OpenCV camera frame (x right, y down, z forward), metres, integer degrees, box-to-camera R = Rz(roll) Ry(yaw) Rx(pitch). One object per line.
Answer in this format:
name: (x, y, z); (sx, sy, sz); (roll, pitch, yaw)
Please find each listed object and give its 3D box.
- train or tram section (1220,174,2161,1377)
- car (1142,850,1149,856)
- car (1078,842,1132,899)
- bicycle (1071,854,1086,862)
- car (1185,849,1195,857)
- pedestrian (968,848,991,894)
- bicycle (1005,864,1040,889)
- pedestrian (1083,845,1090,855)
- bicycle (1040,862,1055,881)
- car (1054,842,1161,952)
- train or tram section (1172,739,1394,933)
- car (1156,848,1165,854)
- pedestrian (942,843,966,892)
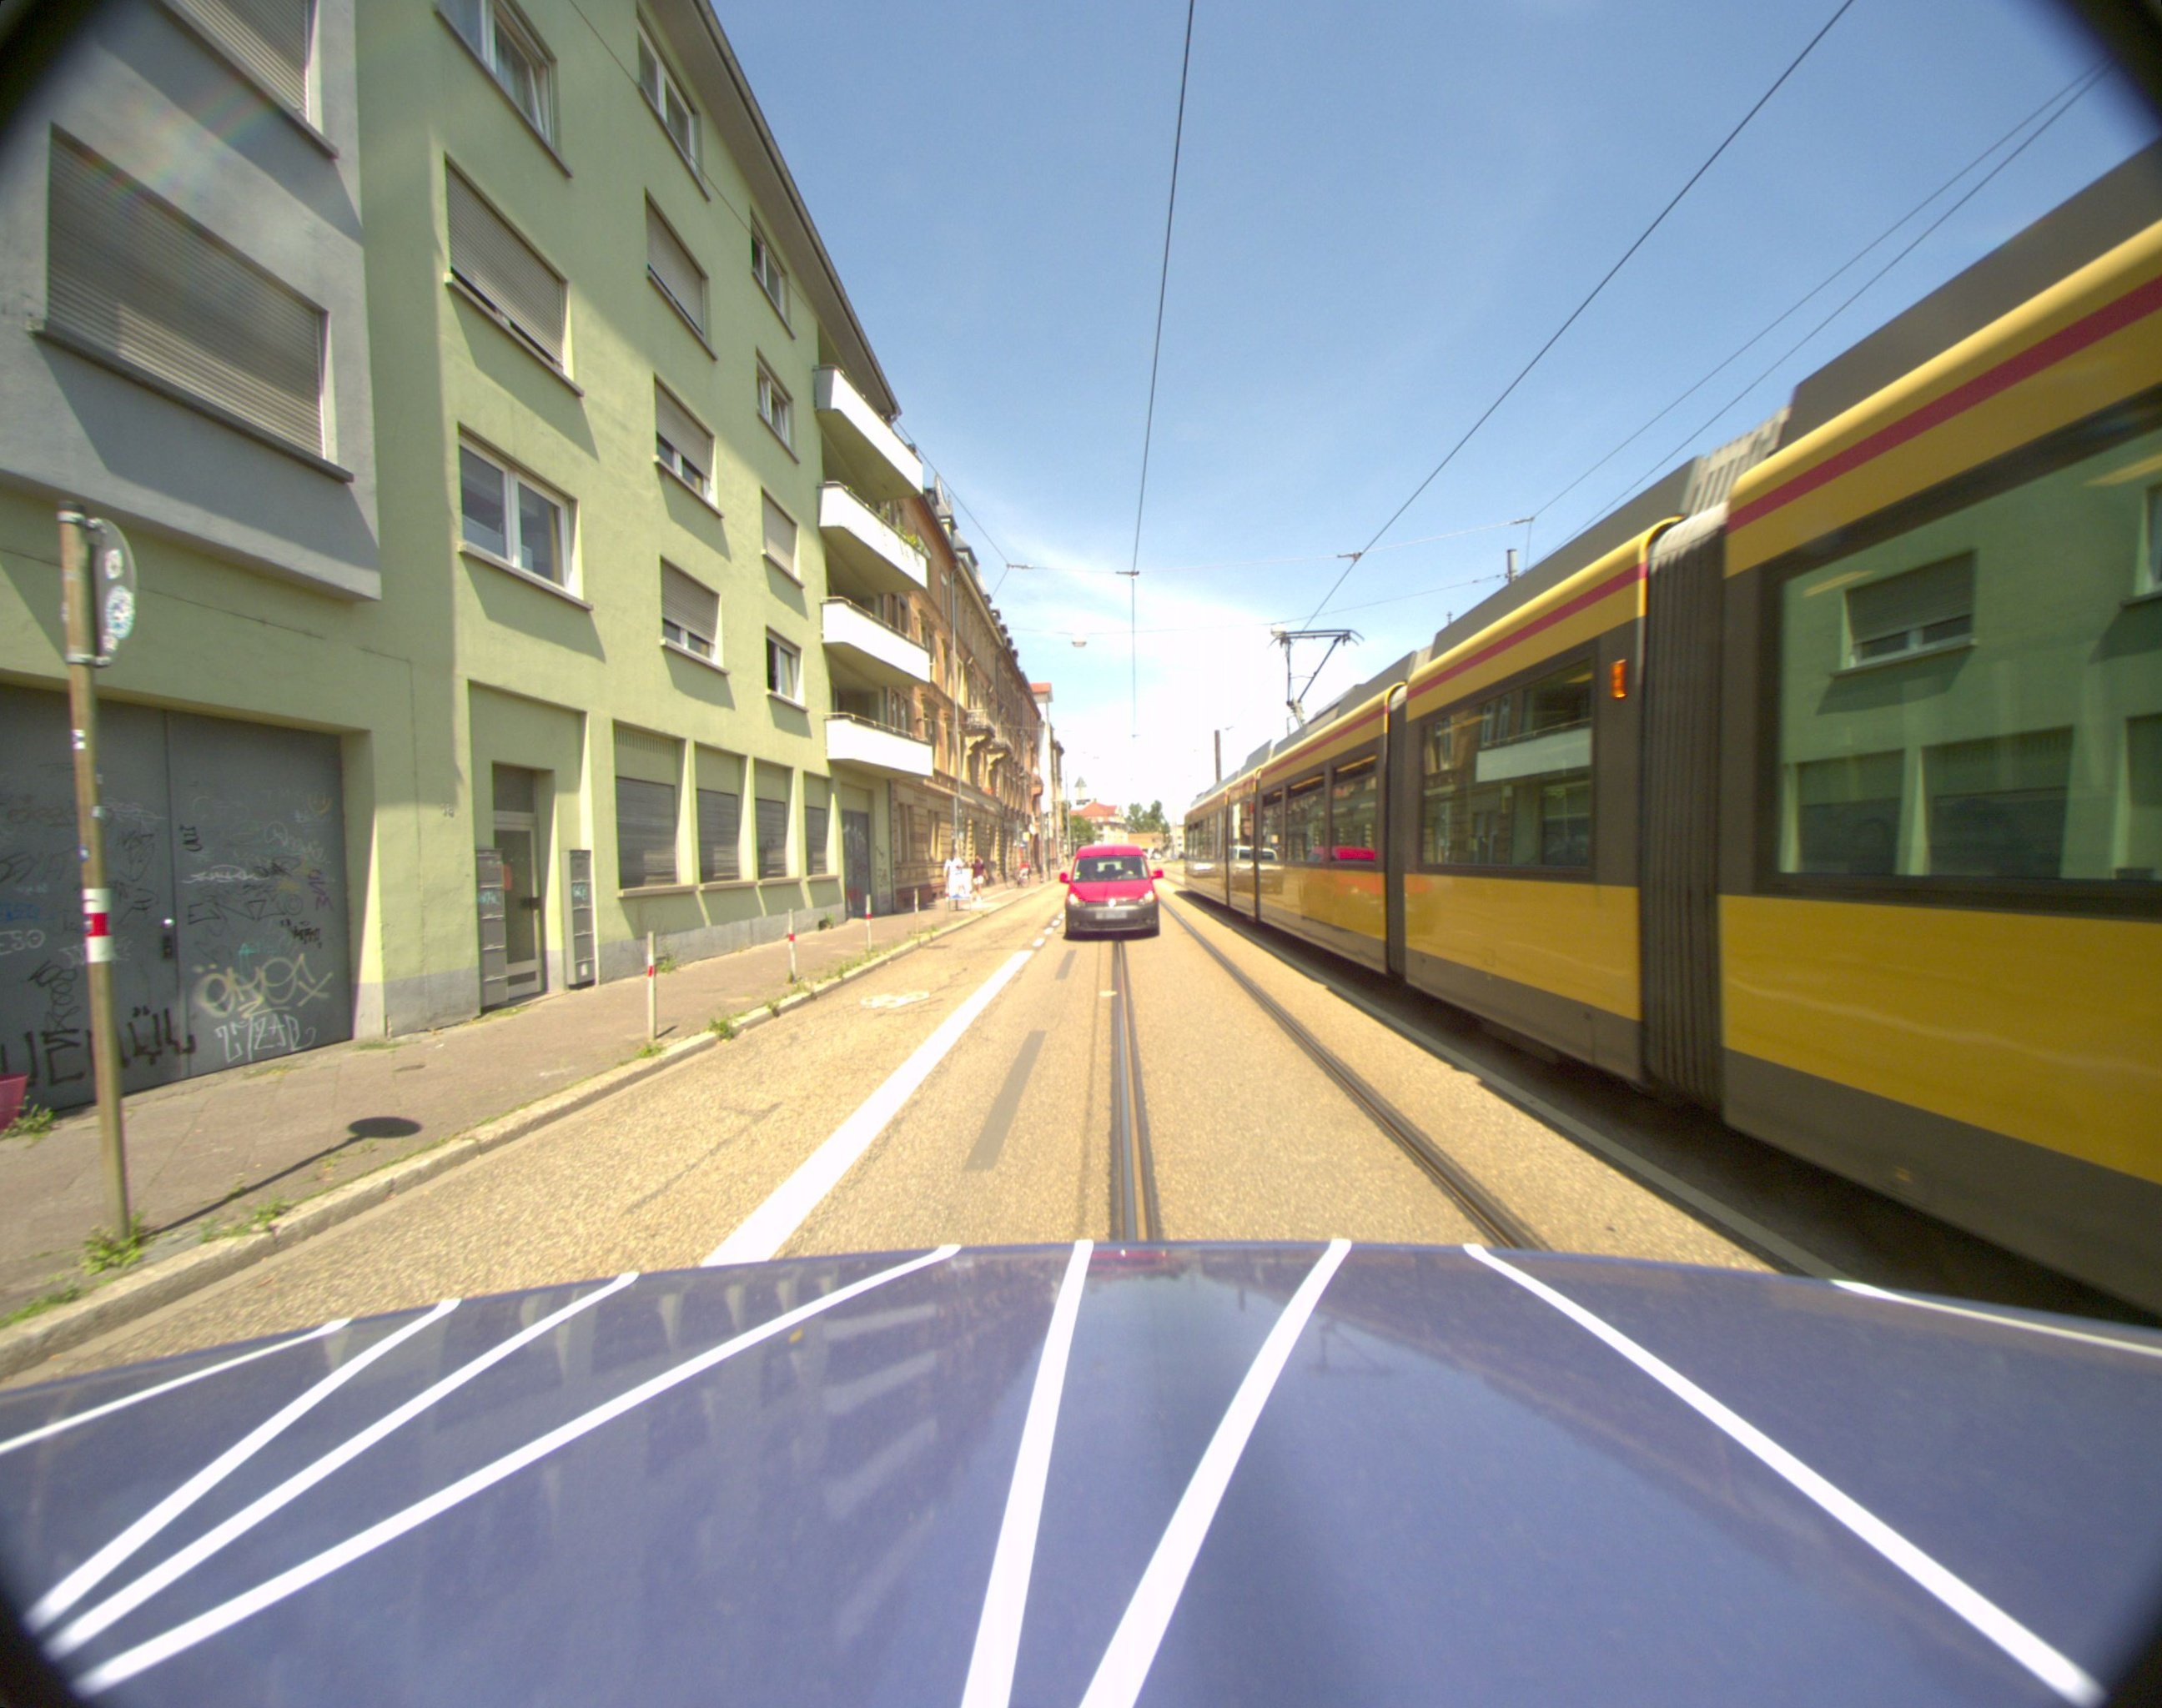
train or tram section: (4.154, -0.268, 8.941); (2.968, 3.559, 13.424); (-2, 0, 2)
car: (17.054, -0.336, 200.311); (1.674, 1.453, 3.904); (-1, 0, 3)
car: (0.917, 0.585, 29.123); (1.874, 1.954, 3.824); (-2, 0, 2)
bicycle: (-0.393, 0.737, 127.997); (2.225, 1.243, 1.096); (-2, 0, -41)
car: (23.698, -0.296, 165.469); (1.825, 1.617, 4.527); (-1, 0, 6)
pedestrian: (-3.857, 0.637, 28.950); (0.722, 1.710, 0.644); (-2, 1, 4)
bicycle: (-2.929, 1.125, 38.380); (0.499, 1.124, 2.247); (-1, 0, 31)
pedestrian: (0.928, -0.688, 131.858); (0.808, 1.769, 0.876); (-2, 1, 35)
bicycle: (-2.038, 1.039, 46.210); (0.448, 1.090, 2.424); (-1, 0, 8)
car: (0.578, 0.728, 14.930); (1.755, 1.802, 4.098); (-2, 0, 4)
train or tram section: (4.642, -0.354, 21.138); (2.968, 3.559, 13.424); (-2, 0, 2)
car: (19.920, -0.834, 190.591); (1.998, 1.521, 5.132); (0, 1, 3)
pedestrian: (-4.826, 0.504, 28.920); (0.704, 1.838, 0.644); (2, 1, 4)
